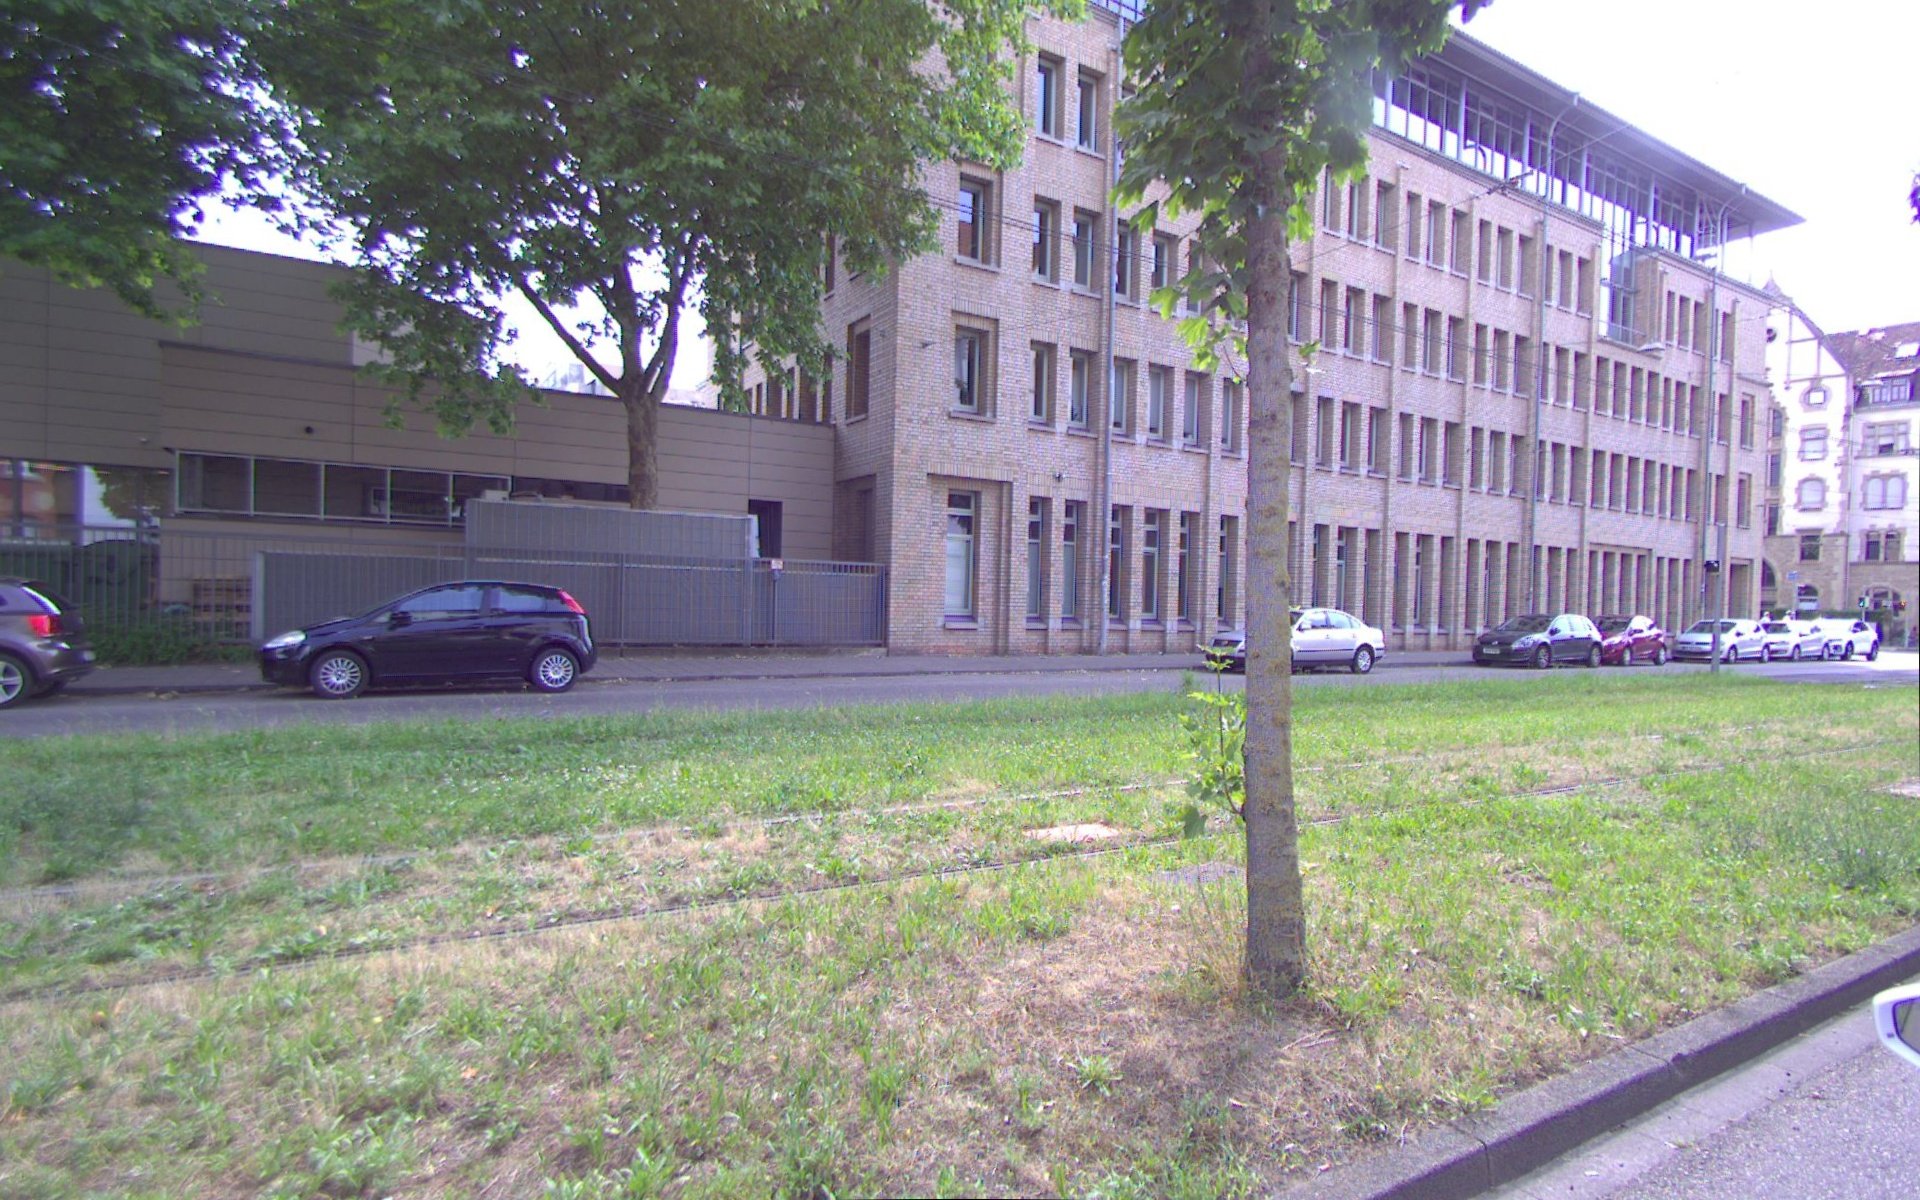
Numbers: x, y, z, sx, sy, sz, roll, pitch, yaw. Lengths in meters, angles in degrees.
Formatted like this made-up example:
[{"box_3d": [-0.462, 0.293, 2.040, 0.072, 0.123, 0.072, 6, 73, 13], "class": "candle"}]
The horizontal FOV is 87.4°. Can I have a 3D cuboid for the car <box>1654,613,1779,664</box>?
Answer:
[{"box_3d": [25.150, 1.270, 33.370, 4.160, 1.551, 1.842, 1, 0, -30], "class": "car"}]

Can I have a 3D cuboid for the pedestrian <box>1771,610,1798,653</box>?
[{"box_3d": [36.188, 1.361, 44.106, 0.749, 1.819, 0.957, 2, 1, 34], "class": "pedestrian"}]

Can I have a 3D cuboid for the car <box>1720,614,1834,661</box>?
[{"box_3d": [29.513, 1.350, 36.276, 3.967, 1.551, 1.924, 1, 0, -30], "class": "car"}]

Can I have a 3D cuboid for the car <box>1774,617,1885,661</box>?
[{"box_3d": [33.381, 1.476, 38.550, 4.207, 1.555, 1.924, 1, 0, -30], "class": "car"}]

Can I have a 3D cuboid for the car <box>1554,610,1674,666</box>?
[{"box_3d": [19.556, 1.126, 30.032, 3.507, 1.551, 1.575, 1, 0, -30], "class": "car"}]

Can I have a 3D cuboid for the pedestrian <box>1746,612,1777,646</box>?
[{"box_3d": [41.540, 1.498, 52.068, 1.003, 1.745, 0.776, 2, 1, 15], "class": "pedestrian"}]

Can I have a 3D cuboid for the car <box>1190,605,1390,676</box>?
[{"box_3d": [7.377, 0.883, 22.360, 4.432, 1.415, 1.707, 1, 0, -30], "class": "car"}]

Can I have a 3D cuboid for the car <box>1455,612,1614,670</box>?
[{"box_3d": [15.779, 1.107, 27.553, 4.189, 1.415, 1.924, 1, 0, -30], "class": "car"}]

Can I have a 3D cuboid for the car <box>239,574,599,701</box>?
[{"box_3d": [-7.040, 0.468, 13.416, 3.950, 1.472, 1.795, 1, 0, -28], "class": "car"}]

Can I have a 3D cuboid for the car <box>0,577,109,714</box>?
[{"box_3d": [-11.678, 0.448, 10.610, 3.857, 1.445, 1.546, 1, 0, -31], "class": "car"}]
